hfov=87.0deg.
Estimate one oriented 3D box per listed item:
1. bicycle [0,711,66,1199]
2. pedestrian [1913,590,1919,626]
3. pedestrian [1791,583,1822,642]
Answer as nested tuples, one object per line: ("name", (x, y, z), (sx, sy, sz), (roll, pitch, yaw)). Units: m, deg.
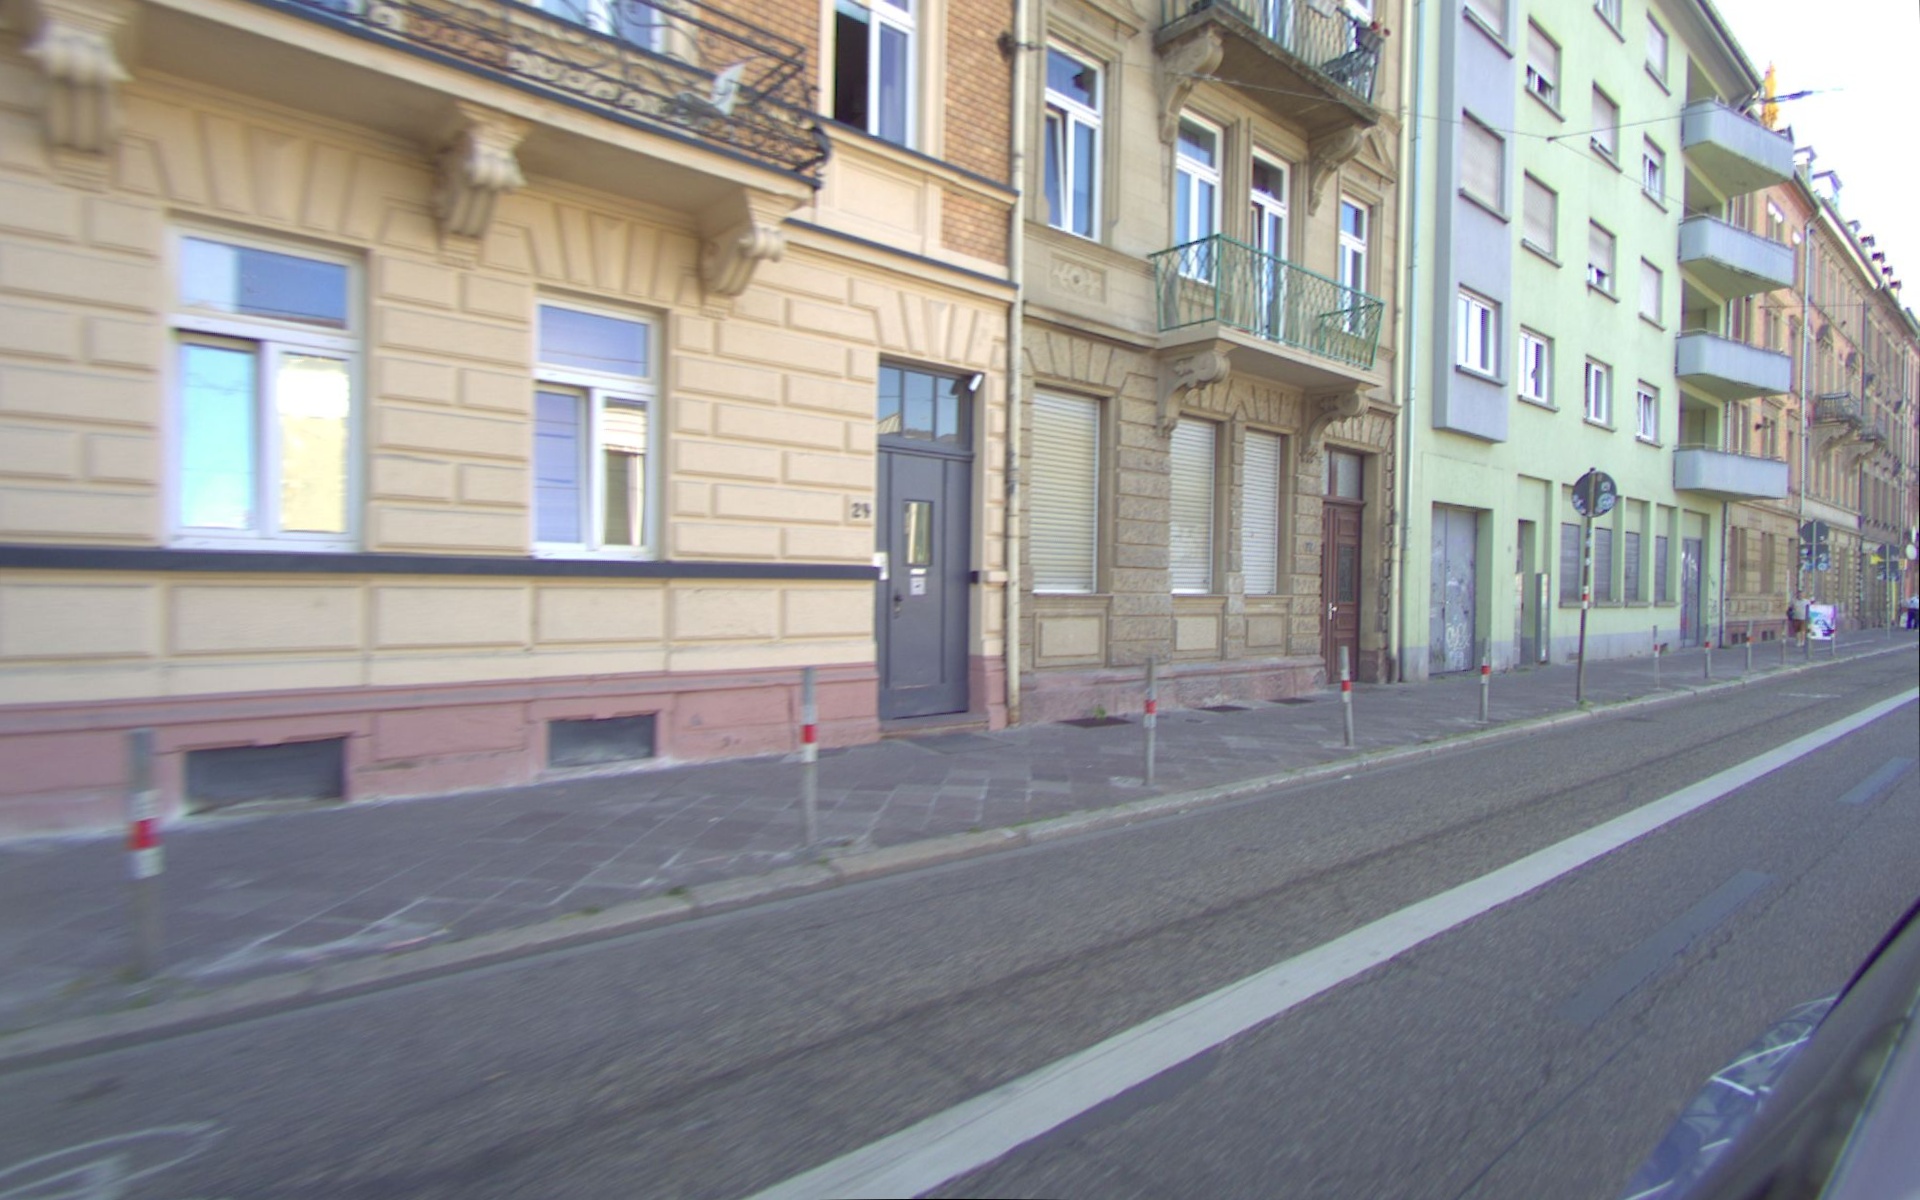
("bicycle", (-2.994, 0.847, 1.368), (2.660, 1.128, 0.682), (0, 0, -41))
("pedestrian", (42.839, 0.356, 44.855), (0.640, 1.625, 0.800), (0, 1, -38))
("pedestrian", (25.163, 0.357, 30.087), (0.465, 1.721, 0.554), (0, 3, -40))
